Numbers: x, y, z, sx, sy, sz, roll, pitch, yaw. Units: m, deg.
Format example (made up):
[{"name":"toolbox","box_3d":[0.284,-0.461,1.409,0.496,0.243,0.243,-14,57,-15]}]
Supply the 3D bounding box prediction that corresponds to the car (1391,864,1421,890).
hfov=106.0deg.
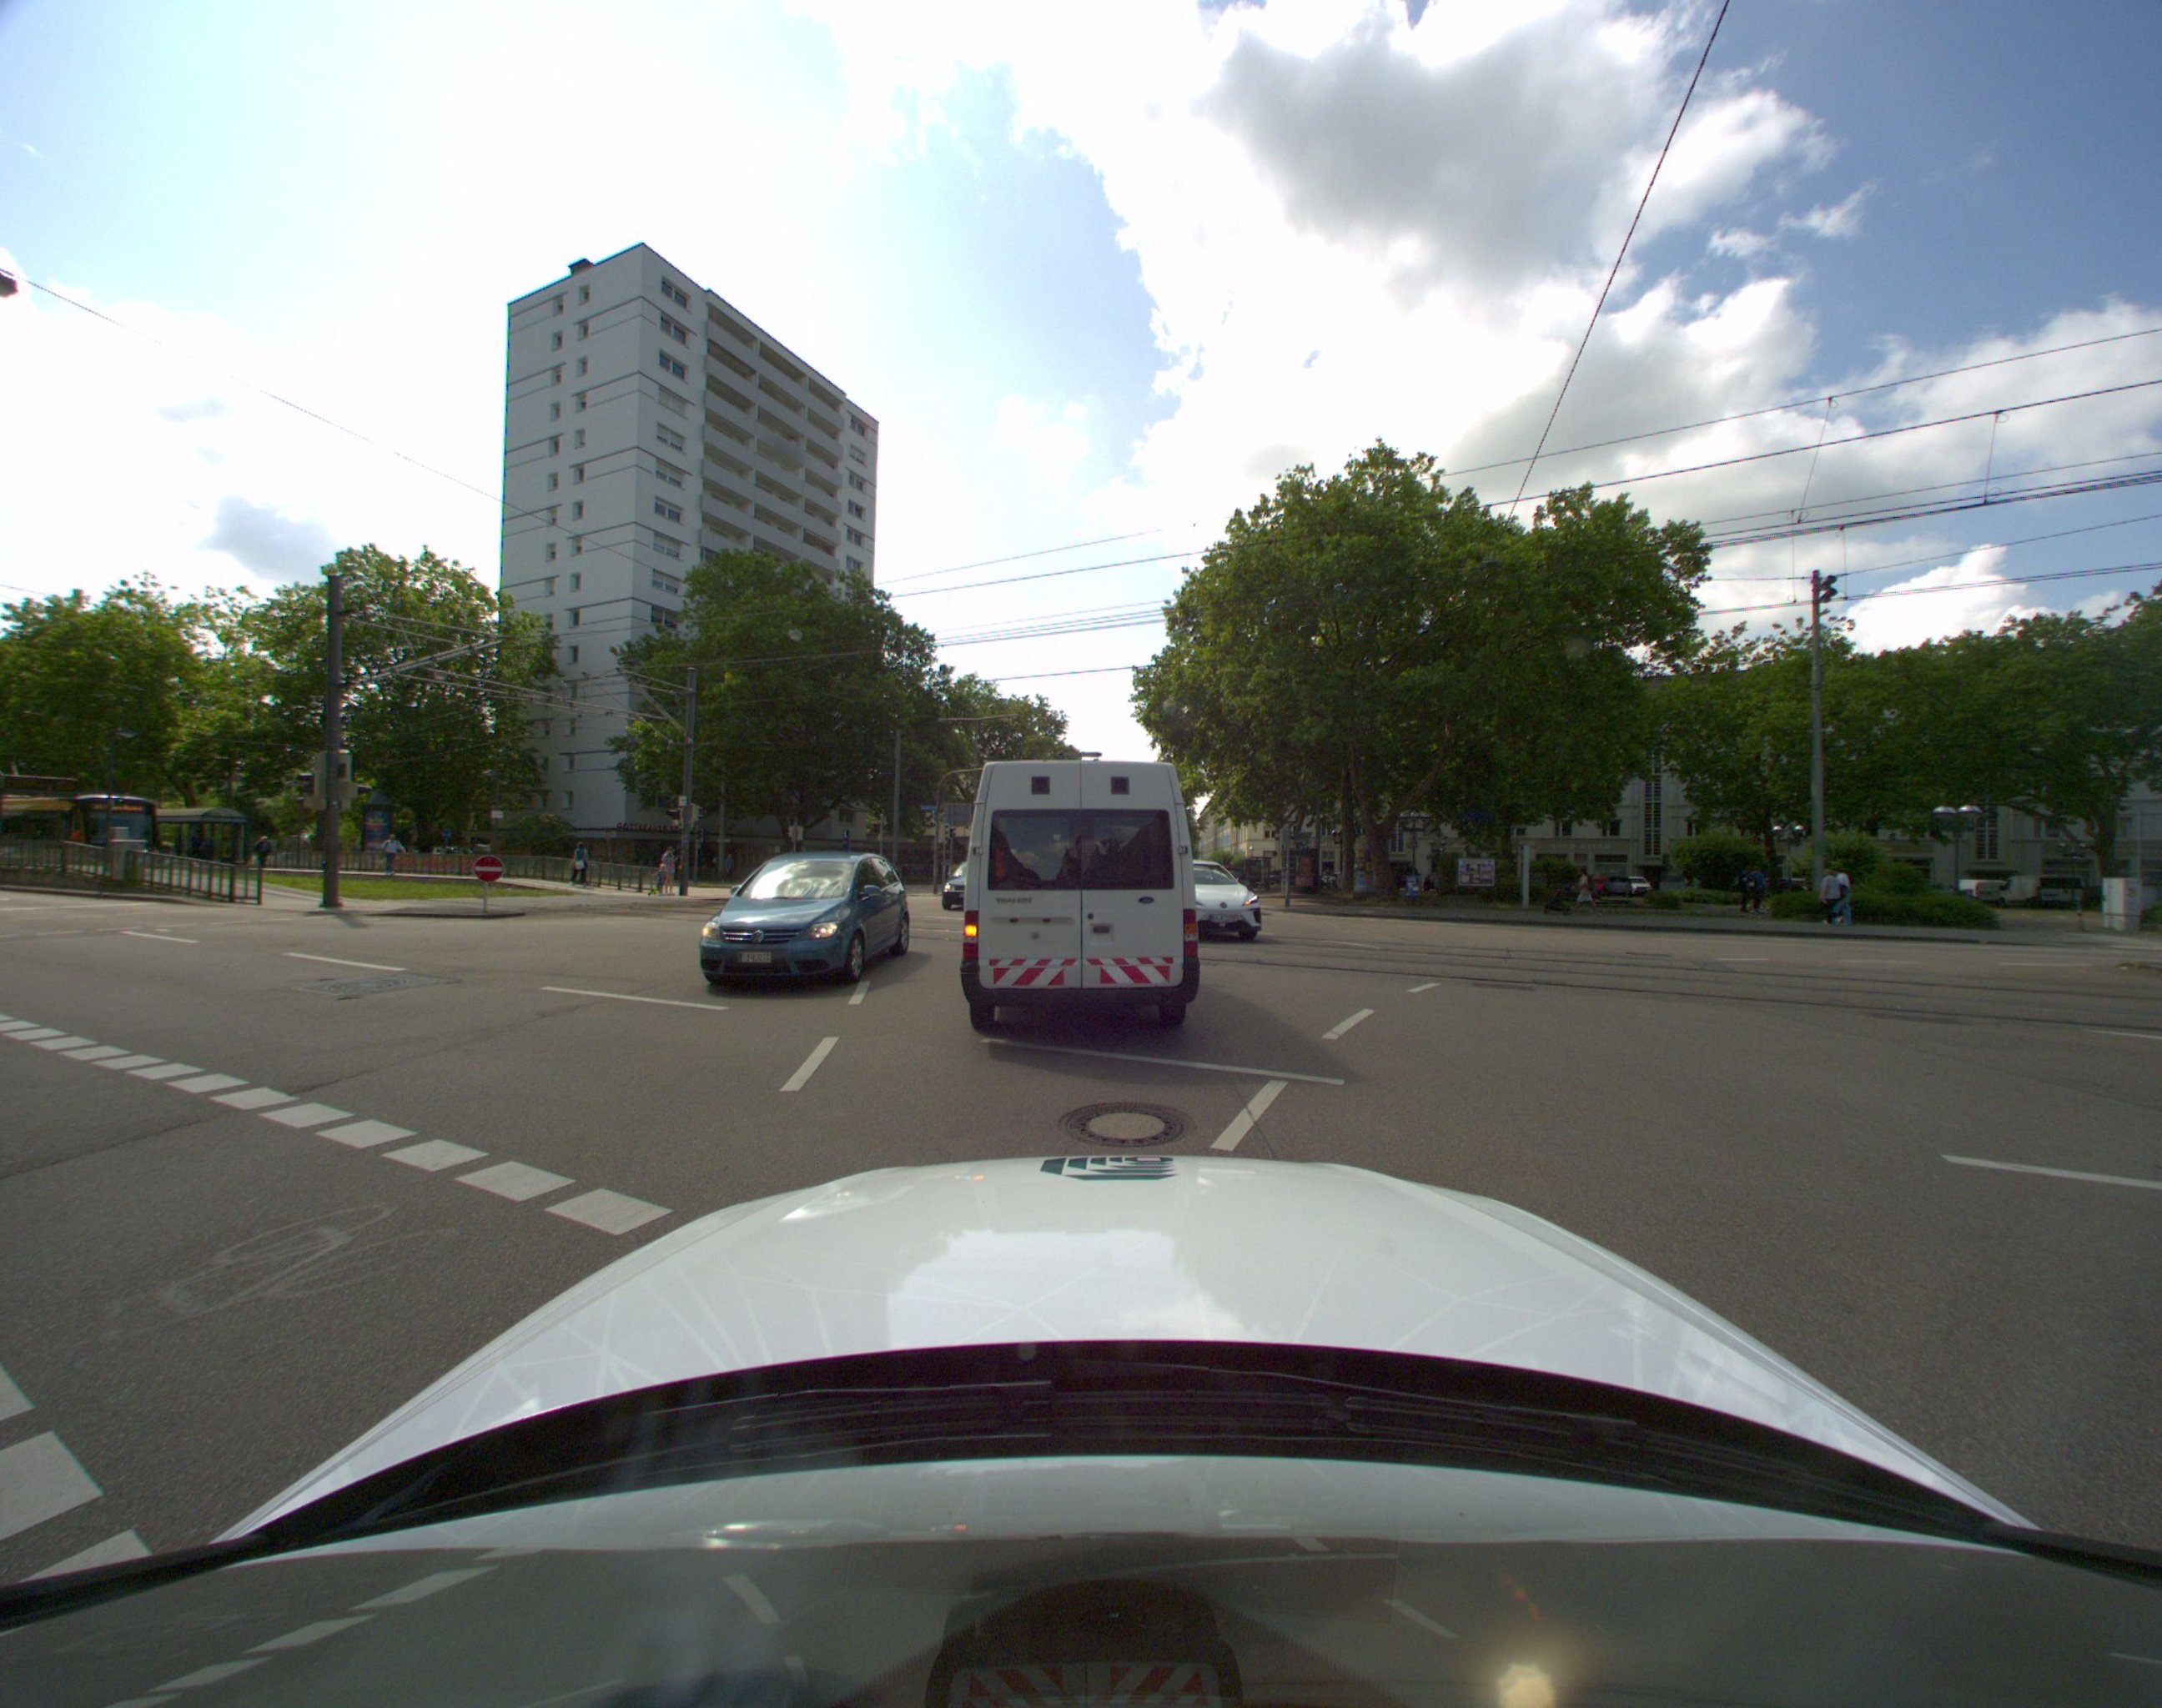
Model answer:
[{"name":"car","box_3d":[26.688,1.881,66.787,1.975,2.076,4.023,1,-1,26]}]

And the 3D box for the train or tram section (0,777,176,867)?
[{"name":"train or tram section","box_3d":[-45.398,-1.319,36.442,12.855,3.584,2.832,1,-1,25]}]

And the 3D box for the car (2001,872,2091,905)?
[{"name":"car","box_3d":[60.113,2.121,50.842,2.078,1.905,4.518,0,-1,28]}]

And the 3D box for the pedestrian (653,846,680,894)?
[{"name":"pedestrian","box_3d":[-14.451,0.557,28.408,0.668,1.666,0.629,0,-1,45]}]

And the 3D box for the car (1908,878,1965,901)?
[{"name":"car","box_3d":[64.012,2.655,61.009,1.722,1.637,4.024,0,-1,28]}]

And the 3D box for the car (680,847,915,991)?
[{"name":"car","box_3d":[-3.478,0.722,10.801,1.742,1.540,3.930,0,-1,0]}]

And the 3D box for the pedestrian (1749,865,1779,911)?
[{"name":"pedestrian","box_3d":[26.769,1.317,31.921,0.694,1.750,0.606,1,-1,2]}]

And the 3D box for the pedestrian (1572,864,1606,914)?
[{"name":"pedestrian","box_3d":[17.158,1.177,27.520,0.911,1.646,0.573,1,-1,27]}]

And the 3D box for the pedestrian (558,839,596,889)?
[{"name":"pedestrian","box_3d":[-19.211,0.381,31.048,0.836,1.899,0.834,0,-2,26]}]

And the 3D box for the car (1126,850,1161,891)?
[{"name":"car","box_3d":[4.260,1.126,56.490,2.112,2.641,6.329,1,-1,1]}]

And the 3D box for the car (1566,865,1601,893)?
[{"name":"car","box_3d":[38.102,1.863,61.847,1.975,2.014,4.023,0,-1,27]}]

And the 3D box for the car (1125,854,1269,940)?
[{"name":"car","box_3d":[2.179,0.783,16.491,1.813,1.506,4.119,1,-1,-8]}]

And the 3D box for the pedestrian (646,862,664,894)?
[{"name":"pedestrian","box_3d":[-14.531,0.826,27.794,0.423,1.063,0.431,2,-2,-45]}]

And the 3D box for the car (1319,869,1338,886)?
[{"name":"car","box_3d":[24.483,2.309,80.463,1.453,1.666,3.083,1,-1,22]}]

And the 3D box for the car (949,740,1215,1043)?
[{"name":"car","box_3d":[-0.097,0.306,8.695,2.042,2.333,4.709,1,0,-3]}]

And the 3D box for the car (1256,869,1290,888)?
[{"name":"car","box_3d":[16.893,2.111,71.565,2.009,1.600,4.564,0,-1,24]}]

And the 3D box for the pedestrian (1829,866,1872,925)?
[{"name":"pedestrian","box_3d":[23.655,1.253,25.033,0.665,1.764,0.693,1,-1,2]}]

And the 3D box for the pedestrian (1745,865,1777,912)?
[{"name":"pedestrian","box_3d":[25.605,1.277,30.679,0.694,1.750,0.606,1,-1,2]}]

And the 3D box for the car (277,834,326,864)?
[{"name":"car","box_3d":[-73.084,-0.485,76.371,4.226,2.775,1.823,1,-1,25]}]

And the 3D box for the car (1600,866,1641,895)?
[{"name":"car","box_3d":[40.254,1.956,60.846,1.976,2.014,4.022,0,-1,24]}]

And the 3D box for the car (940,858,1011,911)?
[{"name":"car","box_3d":[-3.094,0.858,24.566,1.708,1.433,3.815,-1,0,-2]}]

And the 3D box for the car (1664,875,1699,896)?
[{"name":"car","box_3d":[49.798,2.559,67.588,1.722,1.637,4.024,0,-1,28]}]

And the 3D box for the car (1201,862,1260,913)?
[{"name":"car","box_3d":[4.906,1.061,27.113,1.683,1.538,3.474,1,0,6]}]

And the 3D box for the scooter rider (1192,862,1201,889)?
[{"name":"scooter rider","box_3d":[7.738,1.423,54.609,0.524,1.812,0.649,1,-1,1]}]

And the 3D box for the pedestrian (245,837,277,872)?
[{"name":"pedestrian","box_3d":[-42.009,0.045,41.702,0.866,1.775,0.865,0,-2,26]}]

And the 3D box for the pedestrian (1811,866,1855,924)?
[{"name":"pedestrian","box_3d":[22.888,1.230,24.807,0.714,1.722,0.693,1,-1,2]}]

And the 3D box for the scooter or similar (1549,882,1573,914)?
[{"name":"scooter or similar","box_3d":[16.439,1.505,27.897,0.699,1.056,0.494,1,-1,27]}]

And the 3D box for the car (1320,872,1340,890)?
[{"name":"car","box_3d":[20.008,2.137,65.338,1.454,1.389,3.080,1,-1,17]}]

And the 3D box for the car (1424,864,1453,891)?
[{"name":"car","box_3d":[28.736,1.886,65.398,1.975,2.076,4.023,1,-1,26]}]

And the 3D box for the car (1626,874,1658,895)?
[{"name":"car","box_3d":[47.376,2.545,68.838,1.722,1.637,4.024,0,-1,28]}]

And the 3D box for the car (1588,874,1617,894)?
[{"name":"car","box_3d":[44.870,2.530,70.140,1.722,1.637,4.024,0,-1,28]}]

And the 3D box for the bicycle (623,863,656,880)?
[{"name":"bicycle","box_3d":[-27.465,1.072,50.647,1.736,1.009,0.528,2,-1,-37]}]

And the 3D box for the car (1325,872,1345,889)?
[{"name":"car","box_3d":[21.494,2.226,68.882,1.453,1.389,3.251,1,-1,19]}]

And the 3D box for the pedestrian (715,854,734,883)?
[{"name":"pedestrian","box_3d":[-19.844,0.803,45.348,0.775,1.599,0.538,1,-1,23]}]

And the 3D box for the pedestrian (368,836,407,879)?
[{"name":"pedestrian","box_3d":[-29.387,0.136,34.495,1.032,1.780,0.856,1,-1,26]}]

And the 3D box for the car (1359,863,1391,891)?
[{"name":"car","box_3d":[24.263,1.897,67.205,1.975,2.183,4.282,1,-1,26]}]

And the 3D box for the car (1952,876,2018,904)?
[{"name":"car","box_3d":[66.338,2.597,59.838,1.975,1.964,4.024,0,-1,28]}]

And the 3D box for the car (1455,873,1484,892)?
[{"name":"car","box_3d":[31.014,2.242,64.924,1.975,1.422,4.023,1,-1,26]}]
